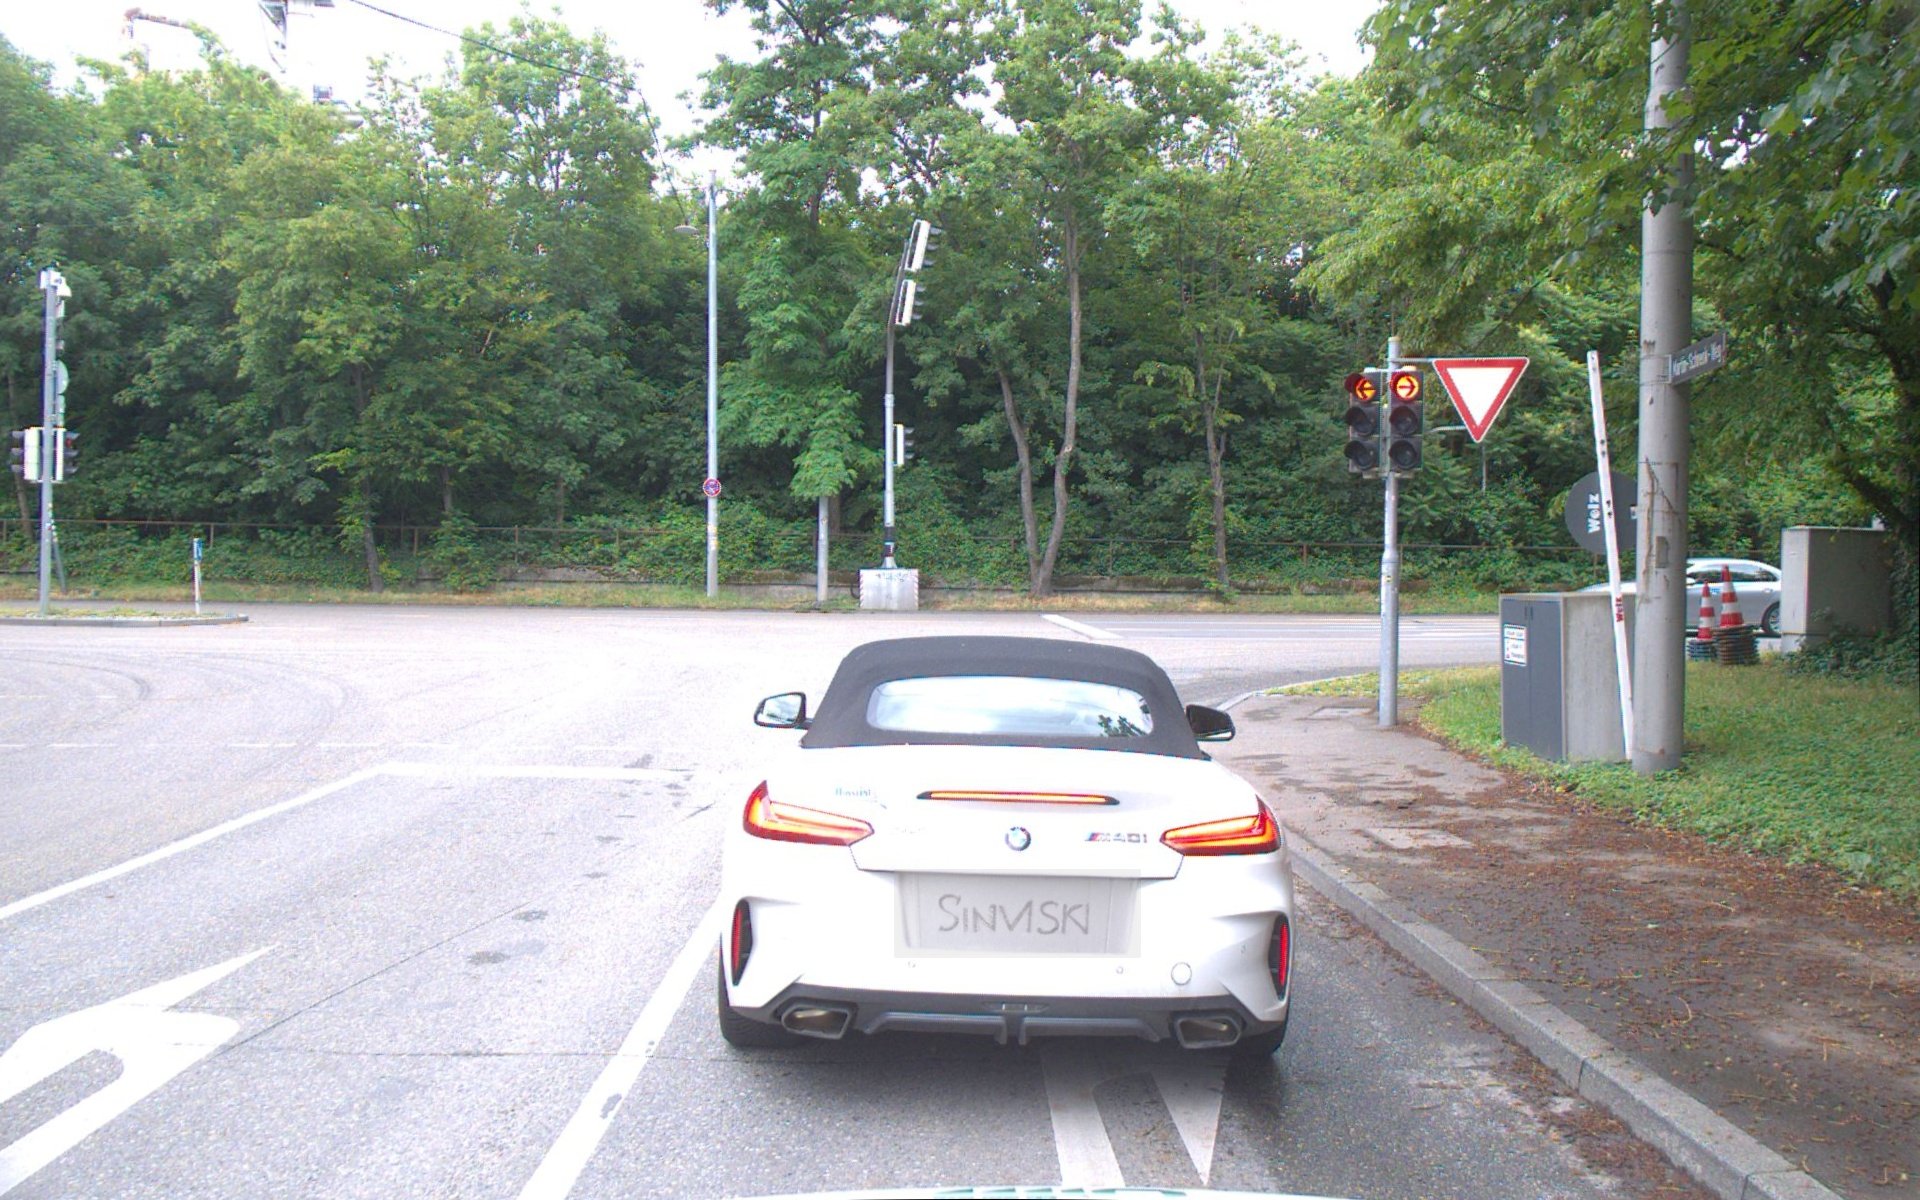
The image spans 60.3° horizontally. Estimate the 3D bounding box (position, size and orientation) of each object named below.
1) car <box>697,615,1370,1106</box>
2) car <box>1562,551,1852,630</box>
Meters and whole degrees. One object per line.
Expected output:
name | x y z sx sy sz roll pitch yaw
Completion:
car | 0.114 0.749 6.457 1.791 1.279 3.997 2 -1 -3
car | 14.077 -0.194 31.344 4.654 1.356 1.834 1 3 -1
